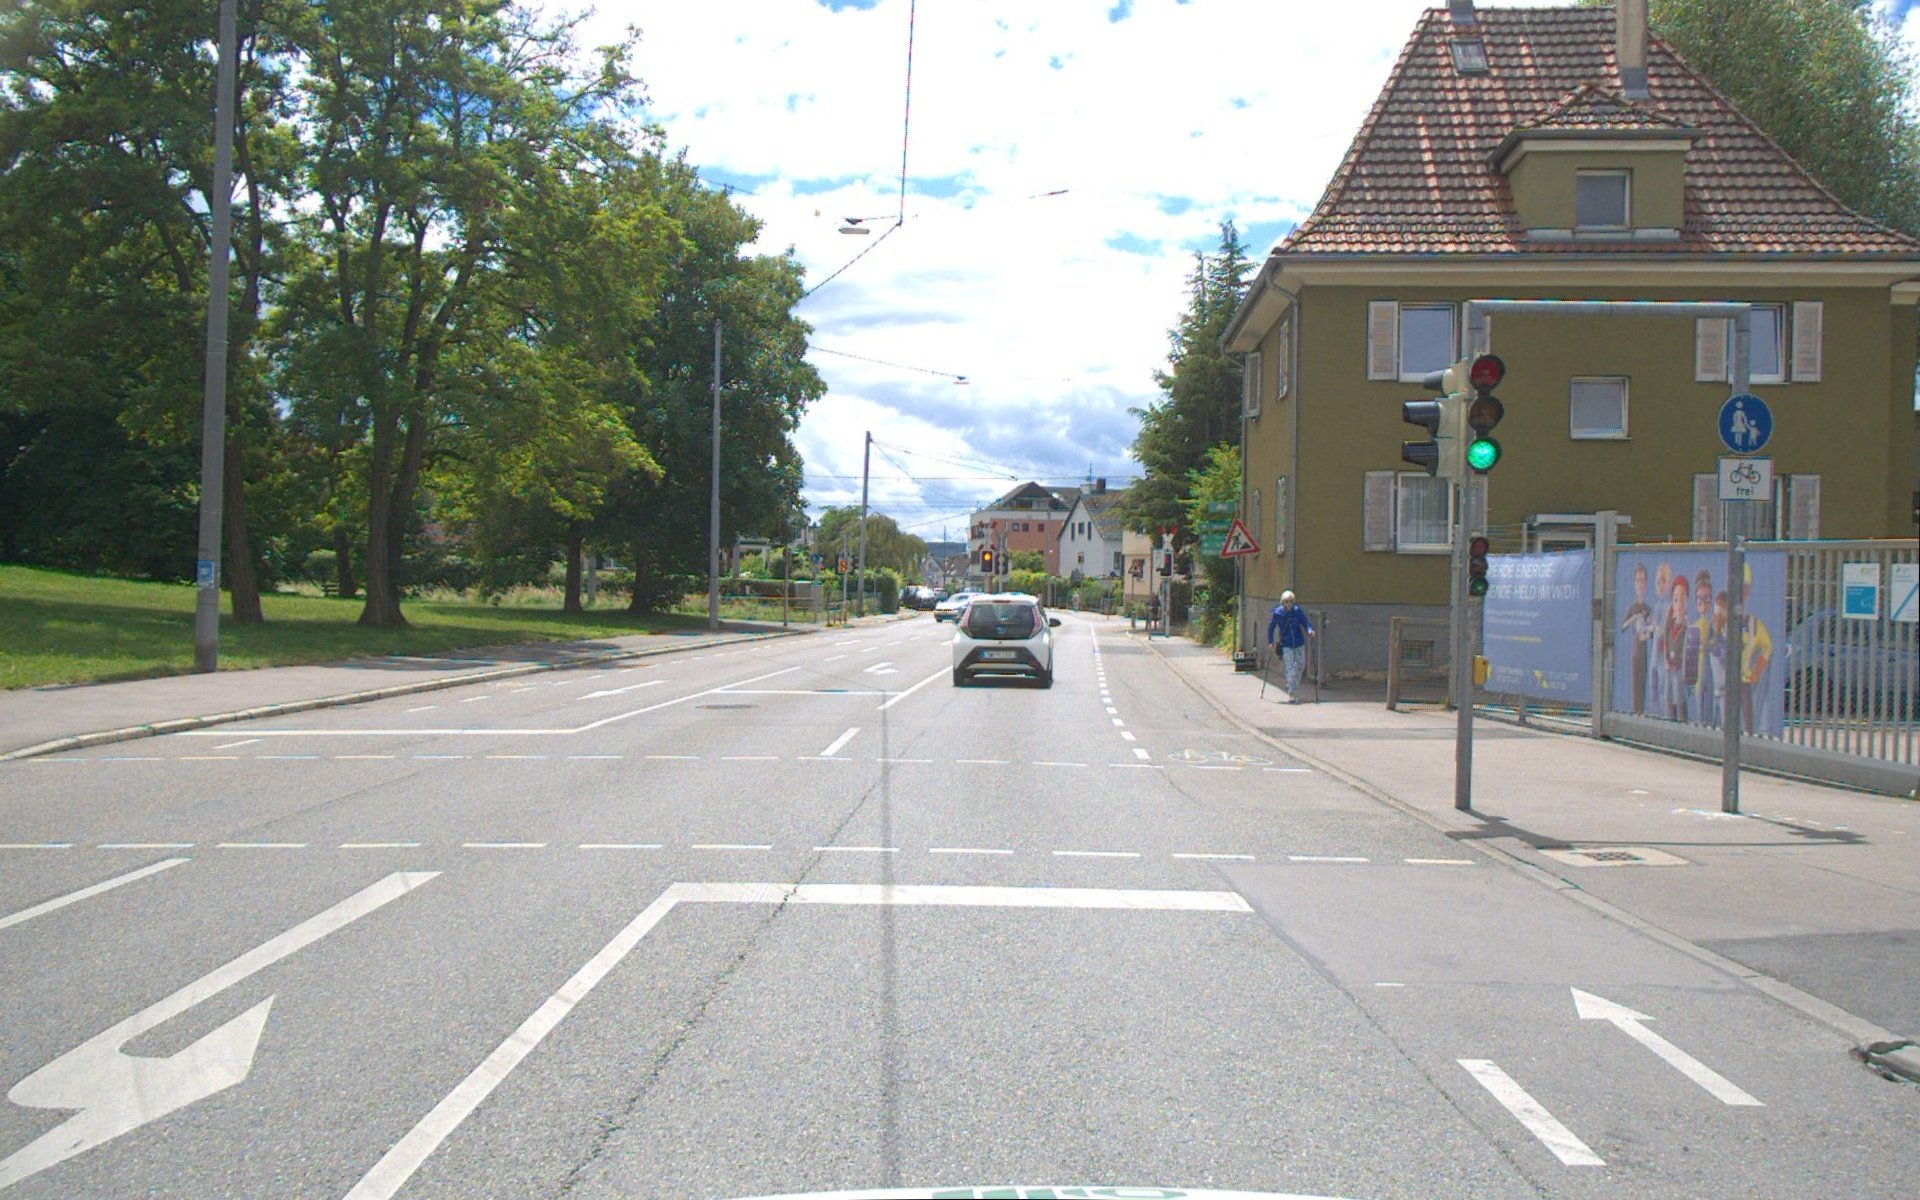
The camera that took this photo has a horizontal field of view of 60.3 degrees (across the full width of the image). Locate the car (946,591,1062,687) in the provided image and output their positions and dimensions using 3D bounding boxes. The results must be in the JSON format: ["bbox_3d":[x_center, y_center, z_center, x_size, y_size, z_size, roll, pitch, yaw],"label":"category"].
[{"bbox_3d":[0.810,0.619,28.107,1.685,1.467,3.711,2,0,5],"label":"car"}]

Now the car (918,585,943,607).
[{"bbox_3d":[-2.459,-0.337,136.707,1.953,1.749,3.999,2,0,-2],"label":"car"}]

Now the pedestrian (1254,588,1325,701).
[{"bbox_3d":[4.778,0.631,24.036,0.807,1.599,0.988,0,0,-1],"label":"pedestrian"}]

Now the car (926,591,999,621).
[{"bbox_3d":[0.160,0.330,85.343,1.871,1.466,4.087,2,0,32],"label":"car"}]

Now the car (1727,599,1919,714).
[{"bbox_3d":[13.412,0.824,24.330,3.434,1.520,1.658,2,2,-2],"label":"car"}]

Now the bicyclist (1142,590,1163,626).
[{"bbox_3d":[8.874,0.379,76.418,0.824,1.580,0.756,-2,2,-1],"label":"bicyclist"}]

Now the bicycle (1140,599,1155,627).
[{"bbox_3d":[8.675,0.586,76.468,0.448,1.192,1.479,-2,2,-1],"label":"bicycle"}]

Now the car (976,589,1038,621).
[{"bbox_3d":[2.626,0.255,93.842,3.284,1.684,1.726,2,0,-6],"label":"car"}]
